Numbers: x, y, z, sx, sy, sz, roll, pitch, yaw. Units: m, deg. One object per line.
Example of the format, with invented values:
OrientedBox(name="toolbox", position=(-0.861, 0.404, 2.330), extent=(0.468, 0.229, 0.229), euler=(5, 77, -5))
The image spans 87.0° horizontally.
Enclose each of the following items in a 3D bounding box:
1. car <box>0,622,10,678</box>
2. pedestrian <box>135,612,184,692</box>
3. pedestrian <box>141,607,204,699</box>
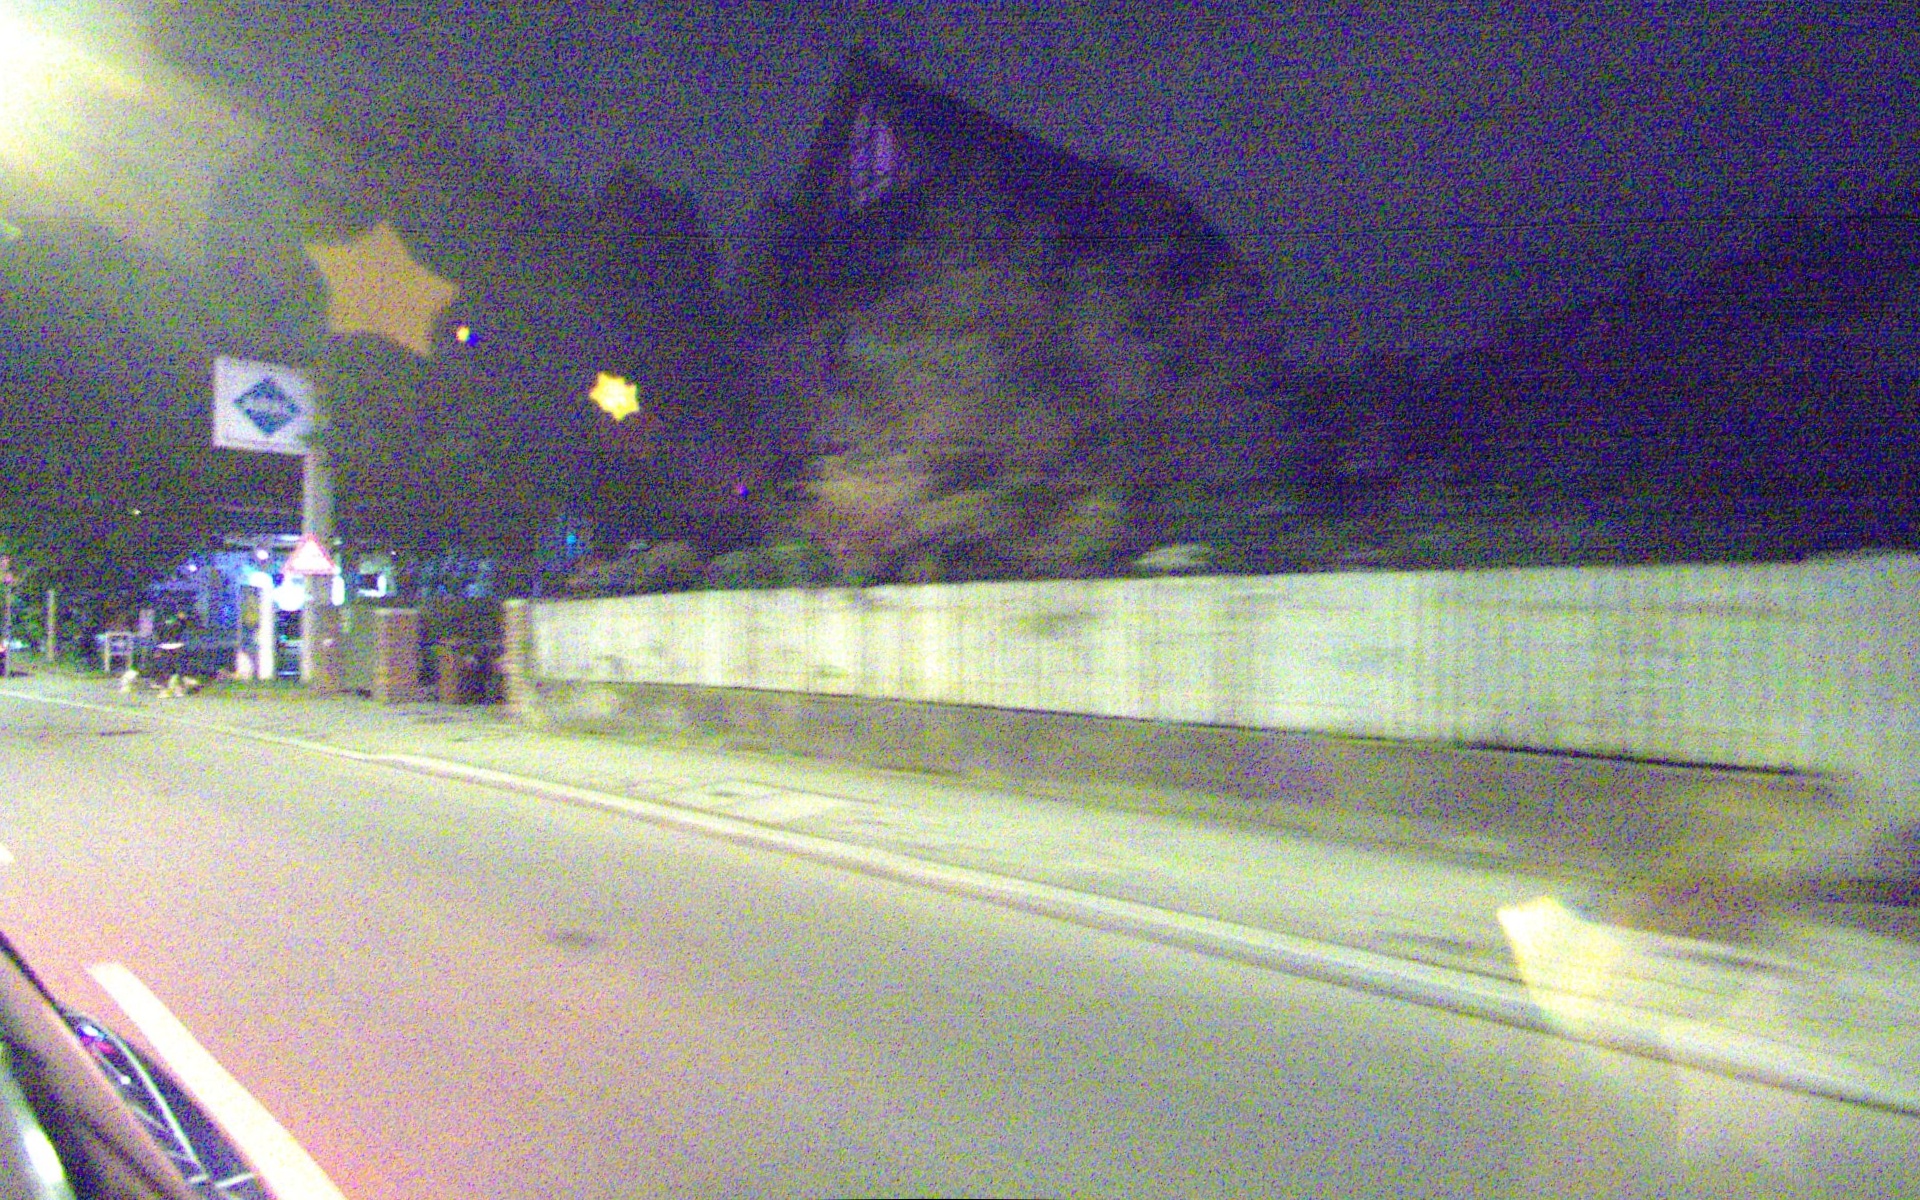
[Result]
OrientedBox(name="car", position=(-28.848, 1.476, 28.947), extent=(4.584, 1.544, 1.841), euler=(-2, 1, 40))
OrientedBox(name="pedestrian", position=(-17.918, 1.155, 22.650), extent=(0.865, 1.739, 0.662), euler=(-2, -1, 38))
OrientedBox(name="pedestrian", position=(-15.009, 0.991, 19.294), extent=(1.102, 1.684, 0.734), euler=(-1, -1, 40))
